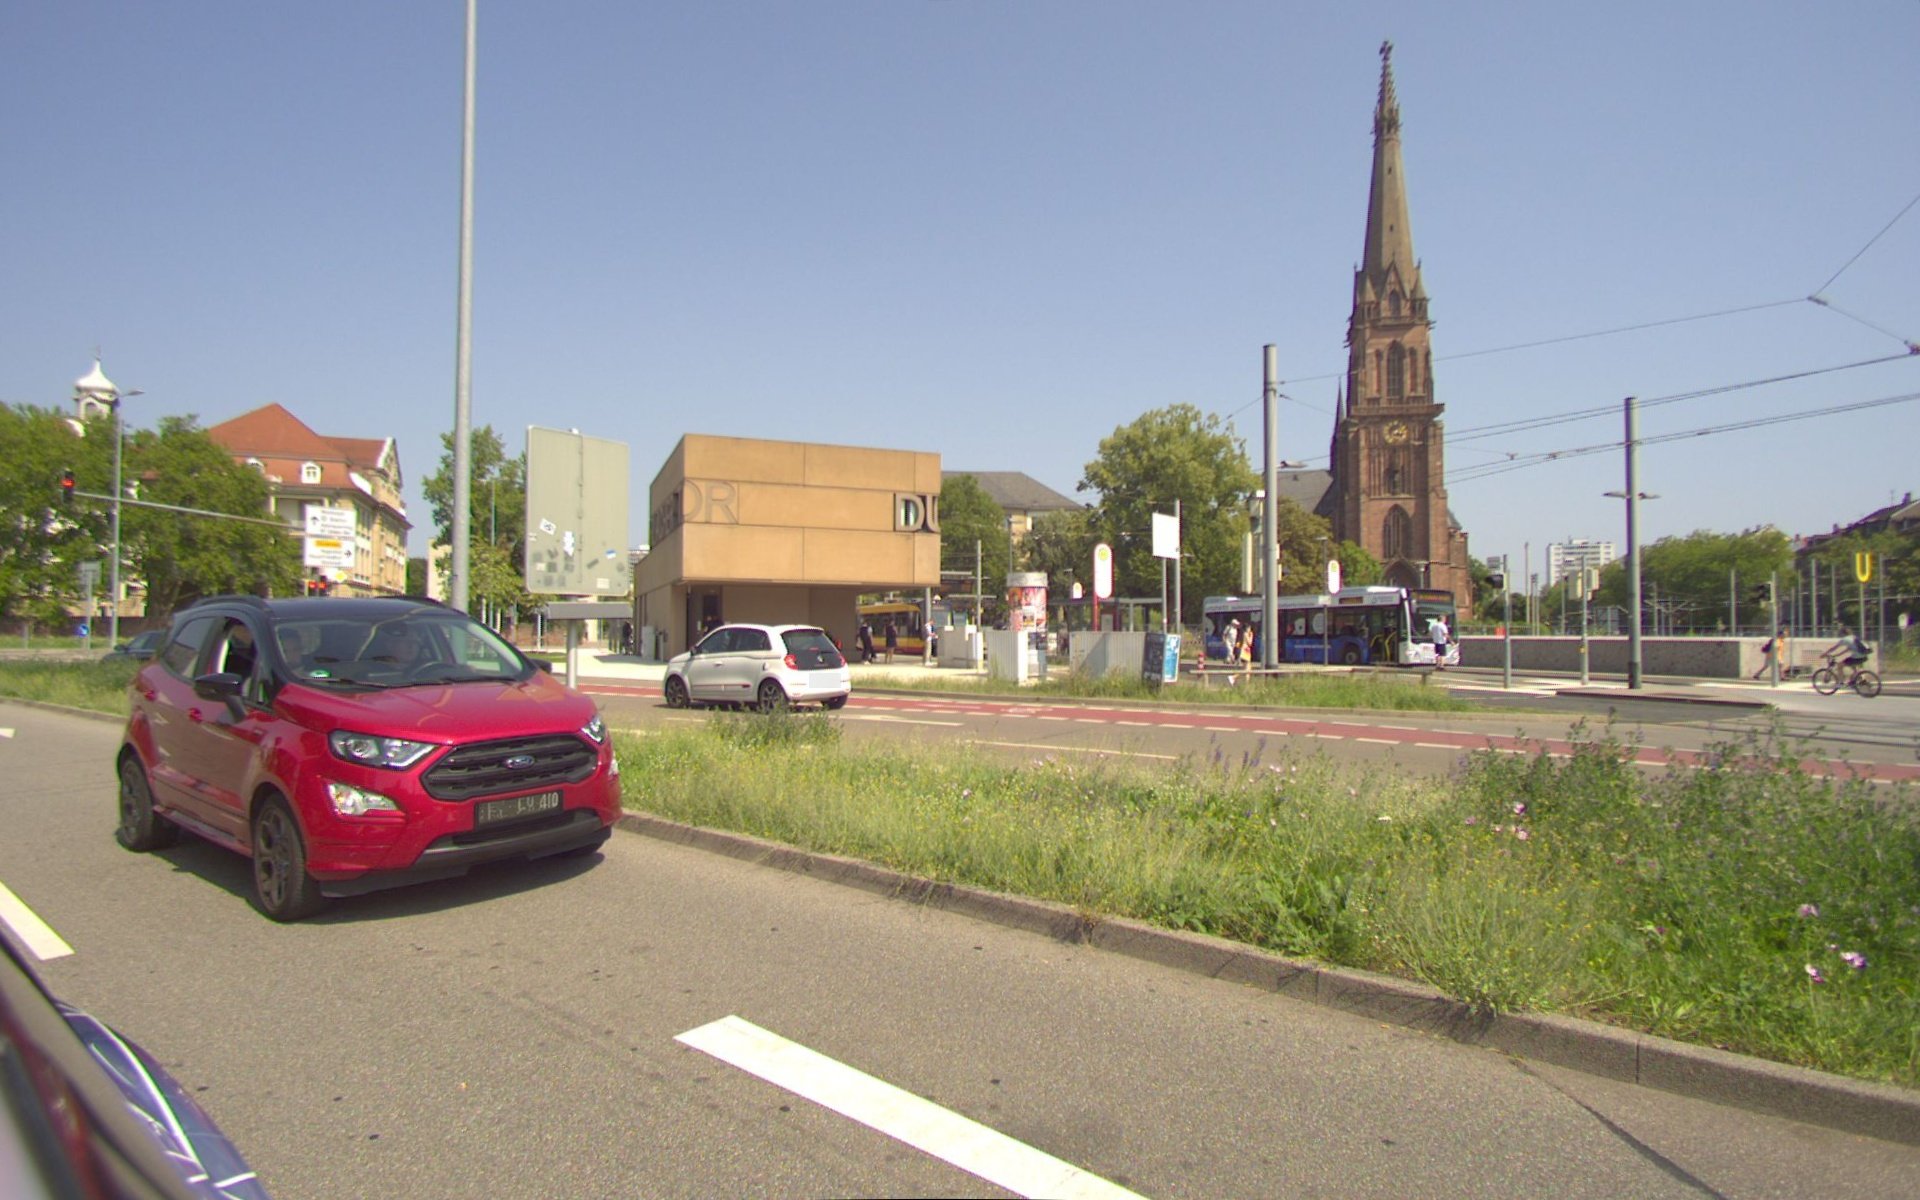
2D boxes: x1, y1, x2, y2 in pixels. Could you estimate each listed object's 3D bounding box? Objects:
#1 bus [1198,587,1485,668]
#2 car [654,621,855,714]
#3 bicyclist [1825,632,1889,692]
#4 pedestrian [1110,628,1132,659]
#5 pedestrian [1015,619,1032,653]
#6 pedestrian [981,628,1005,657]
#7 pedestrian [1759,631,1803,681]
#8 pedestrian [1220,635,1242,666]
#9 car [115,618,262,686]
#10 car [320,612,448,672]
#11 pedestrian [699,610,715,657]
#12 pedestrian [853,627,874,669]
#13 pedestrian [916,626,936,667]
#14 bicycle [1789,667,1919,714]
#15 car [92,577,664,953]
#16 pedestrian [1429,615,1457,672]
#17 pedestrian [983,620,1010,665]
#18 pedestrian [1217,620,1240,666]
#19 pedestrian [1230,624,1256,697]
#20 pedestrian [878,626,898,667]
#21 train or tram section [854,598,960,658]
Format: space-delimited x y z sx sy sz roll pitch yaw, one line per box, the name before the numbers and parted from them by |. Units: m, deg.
bus | 14.527 1.135 40.489 3.346 2.733 12.382 1 -2 -21
car | -3.653 1.137 17.815 3.469 1.490 1.508 -1 -2 35
bicyclist | 22.826 1.565 25.765 0.644 1.438 1.012 -1 0 -20
pedestrian | 9.117 2.460 57.359 0.832 1.709 0.961 1 -2 -21
pedestrian | 3.471 1.957 55.340 0.792 1.837 0.535 1 -2 -21
pedestrian | 1.919 2.482 59.268 1.060 1.709 1.068 1 -2 -22
pedestrian | 26.399 1.785 32.534 0.730 1.555 0.861 1 -2 -30
pedestrian | 10.418 1.925 38.841 0.601 1.134 0.630 -1 0 40
car | -17.507 1.152 22.950 3.466 1.437 1.510 -1 -2 32
car | -18.865 1.350 33.146 3.898 1.868 1.851 -1 -2 29
pedestrian | -8.868 1.178 35.433 0.532 1.637 0.690 1 -2 -14
pedestrian | -3.501 1.720 36.754 0.541 1.508 0.532 -1 -3 39
pedestrian | -1.271 1.737 37.719 0.541 1.508 0.532 -1 -3 39
bicycle | 22.828 2.273 25.842 0.945 1.050 2.369 1 -2 -21
car | -3.684 0.741 6.158 3.839 1.598 1.674 -2 -1 37
pedestrian | 15.782 1.402 33.068 0.638 1.825 0.593 -1 0 43
pedestrian | 1.257 1.443 34.669 0.605 1.508 0.761 -1 -3 39
pedestrian | 10.153 1.613 38.290 0.693 1.724 0.529 -2 -3 41
pedestrian | 7.322 1.554 26.201 0.632 1.825 0.599 -1 0 15
pedestrian | -2.671 1.731 37.568 0.541 1.508 0.532 -1 -3 39
train or tram section | -3.686 1.818 64.753 2.658 3.465 13.463 1 -2 -21
